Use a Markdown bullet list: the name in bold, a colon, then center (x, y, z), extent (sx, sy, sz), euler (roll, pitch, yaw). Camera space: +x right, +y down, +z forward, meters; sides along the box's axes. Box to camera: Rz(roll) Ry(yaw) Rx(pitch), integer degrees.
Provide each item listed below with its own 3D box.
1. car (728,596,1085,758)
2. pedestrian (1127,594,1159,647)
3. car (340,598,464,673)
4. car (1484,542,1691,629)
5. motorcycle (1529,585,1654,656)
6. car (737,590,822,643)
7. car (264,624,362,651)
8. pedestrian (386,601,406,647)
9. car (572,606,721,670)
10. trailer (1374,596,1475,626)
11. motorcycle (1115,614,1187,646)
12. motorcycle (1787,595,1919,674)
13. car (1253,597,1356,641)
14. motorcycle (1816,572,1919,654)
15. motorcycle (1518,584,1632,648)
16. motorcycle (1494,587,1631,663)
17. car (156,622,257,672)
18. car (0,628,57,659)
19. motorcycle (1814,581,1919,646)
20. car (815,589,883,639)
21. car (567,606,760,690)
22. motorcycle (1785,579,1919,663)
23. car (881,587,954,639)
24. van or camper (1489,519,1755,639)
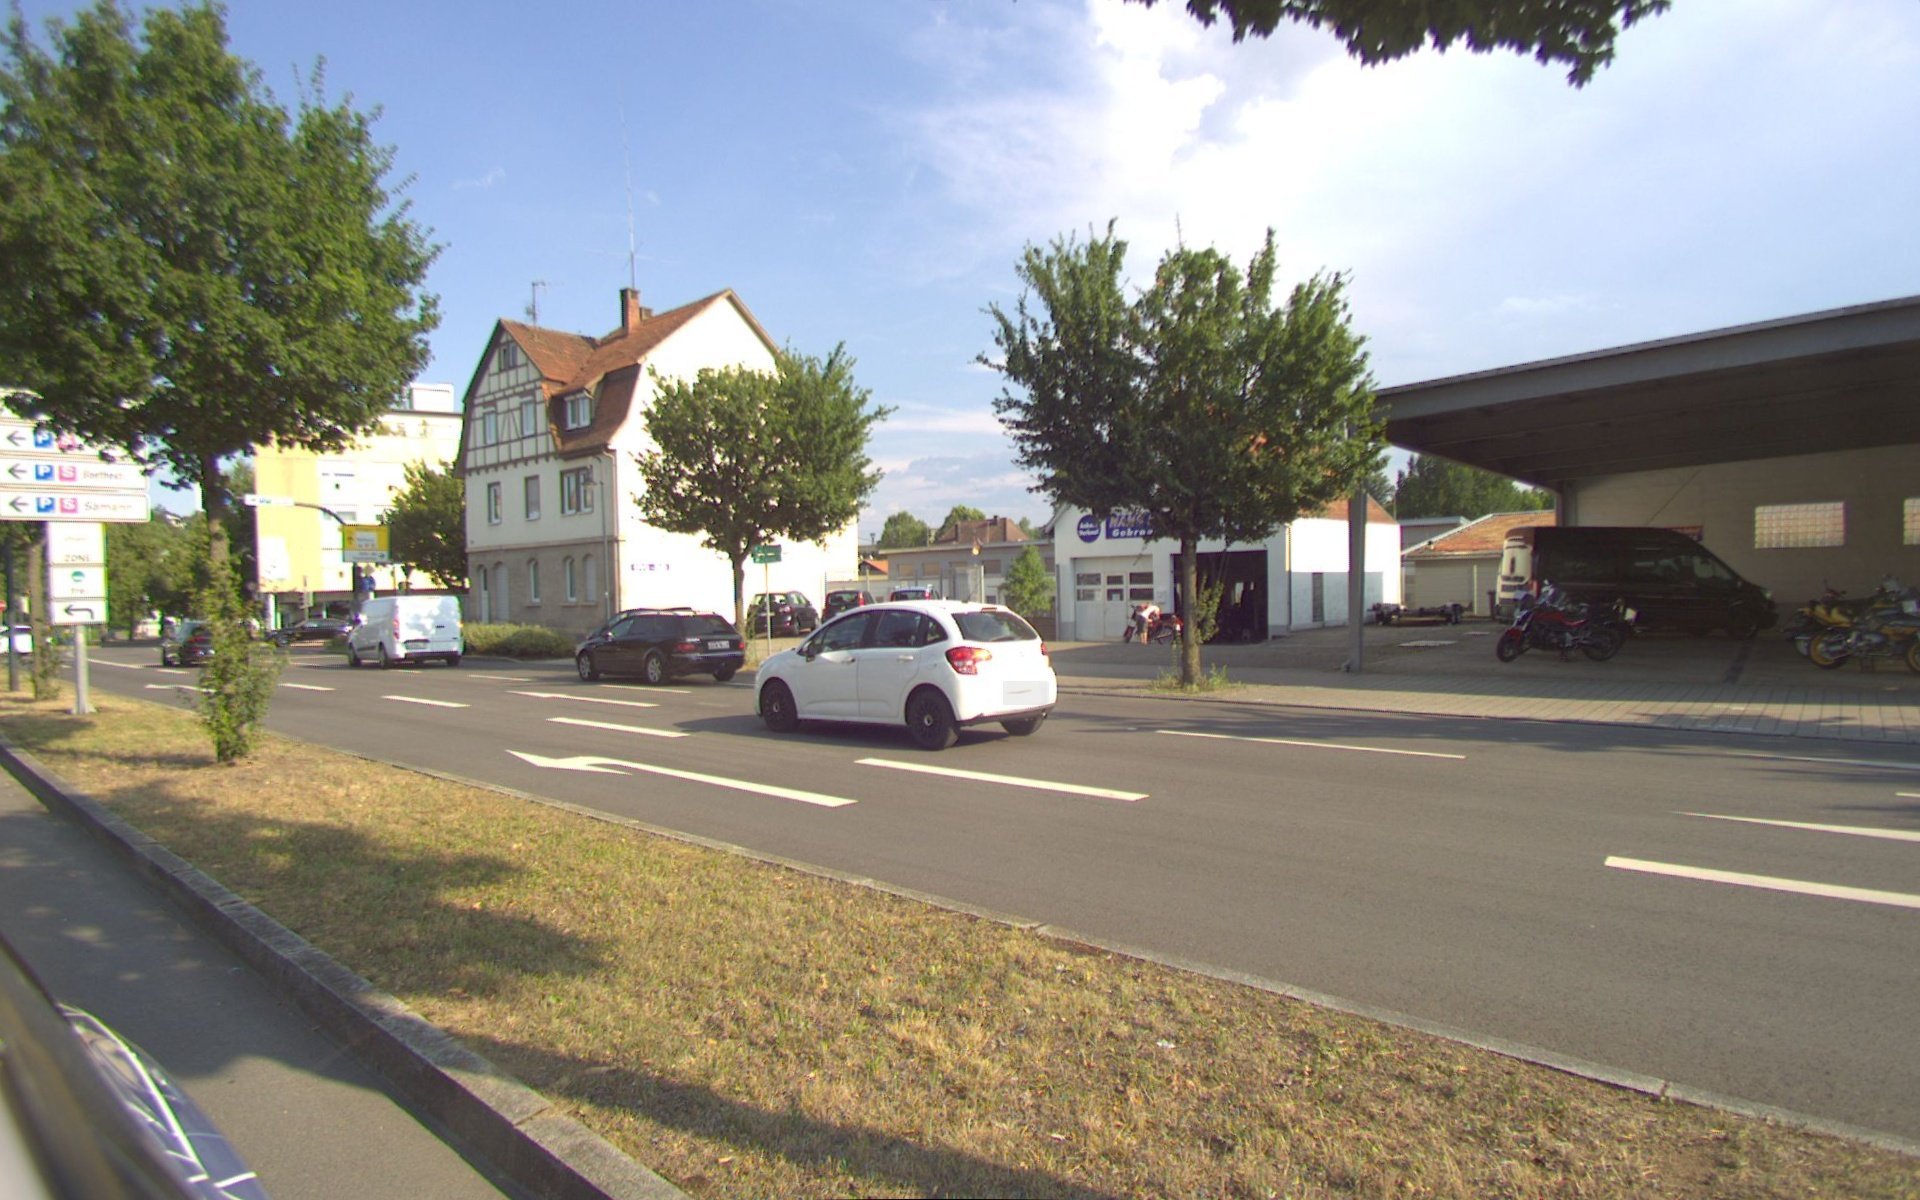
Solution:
- **car**: center (-0.723, 0.751, 11.536), extent (3.954, 1.508, 1.782), euler (-1, 0, 42)
- **pedestrian**: center (5.409, 0.600, 29.898), extent (0.643, 1.535, 0.675), euler (-1, 0, -42)
- **car**: center (-15.914, 0.958, 28.743), extent (1.802, 1.938, 4.947), euler (-1, 0, -45)
- **car**: center (17.418, -0.382, 28.261), extent (4.325, 2.266, 2.201), euler (-1, 0, 0)
- **motorcycle**: center (12.353, 0.397, 19.836), extent (1.982, 1.321, 0.649), euler (-1, 0, 4)
- **car**: center (-6.111, 0.515, 34.752), extent (1.746, 1.563, 3.992), euler (-2, 1, 7)
- **car**: center (-37.321, 2.149, 58.454), extent (4.595, 1.364, 1.770), euler (-1, 0, -41)
- **pedestrian**: center (-25.245, 1.069, 45.322), extent (0.688, 1.997, 0.590), euler (-1, 0, -37)
- **car**: center (-8.432, 0.983, 27.091), extent (4.193, 1.454, 1.816), euler (-1, 3, 41)
- **trailer**: center (15.794, 0.373, 34.331), extent (2.448, 0.831, 3.152), euler (-1, 2, 38)
- **motorcycle**: center (5.712, 0.895, 30.414), extent (2.212, 0.927, 0.500), euler (-1, 0, 45)
- **motorcycle**: center (13.837, 0.493, 15.212), extent (0.620, 1.132, 2.161), euler (-1, 0, -19)
- **car**: center (12.025, 0.621, 35.222), extent (1.886, 1.395, 4.025), euler (-1, 0, 43)
- **motorcycle**: center (17.264, 0.227, 18.726), extent (0.584, 1.459, 2.161), euler (-1, 0, -19)
- **motorcycle**: center (13.114, 0.337, 21.619), extent (1.982, 1.321, 0.649), euler (-1, 0, 4)
- **motorcycle**: center (10.830, 0.445, 18.267), extent (1.991, 1.321, 0.666), euler (-1, 0, 18)
- **car**: center (-24.112, 1.452, 32.327), extent (4.106, 1.462, 1.751), euler (-1, 0, 41)
- **car**: center (-45.767, 2.088, 47.979), extent (1.752, 1.364, 4.108), euler (-1, 0, 17)
- **motorcycle**: center (18.802, 0.265, 20.580), extent (0.636, 1.268, 2.161), euler (-1, 0, -19)
- **car**: center (-3.712, 0.452, 34.438), extent (1.744, 1.564, 3.998), euler (-1, 0, 2)
- **car**: center (-6.106, 0.909, 20.578), extent (4.244, 1.508, 1.788), euler (-1, 0, 42)
- **motorcycle**: center (15.378, 0.339, 17.166), extent (0.553, 1.340, 2.161), euler (-1, 0, -19)
- **car**: center (-1.317, 0.398, 32.752), extent (1.746, 1.564, 3.992), euler (-1, 0, 7)
- **van or camper**: center (15.989, -0.476, 24.714), extent (4.981, 2.700, 1.994), euler (-1, 0, 9)
